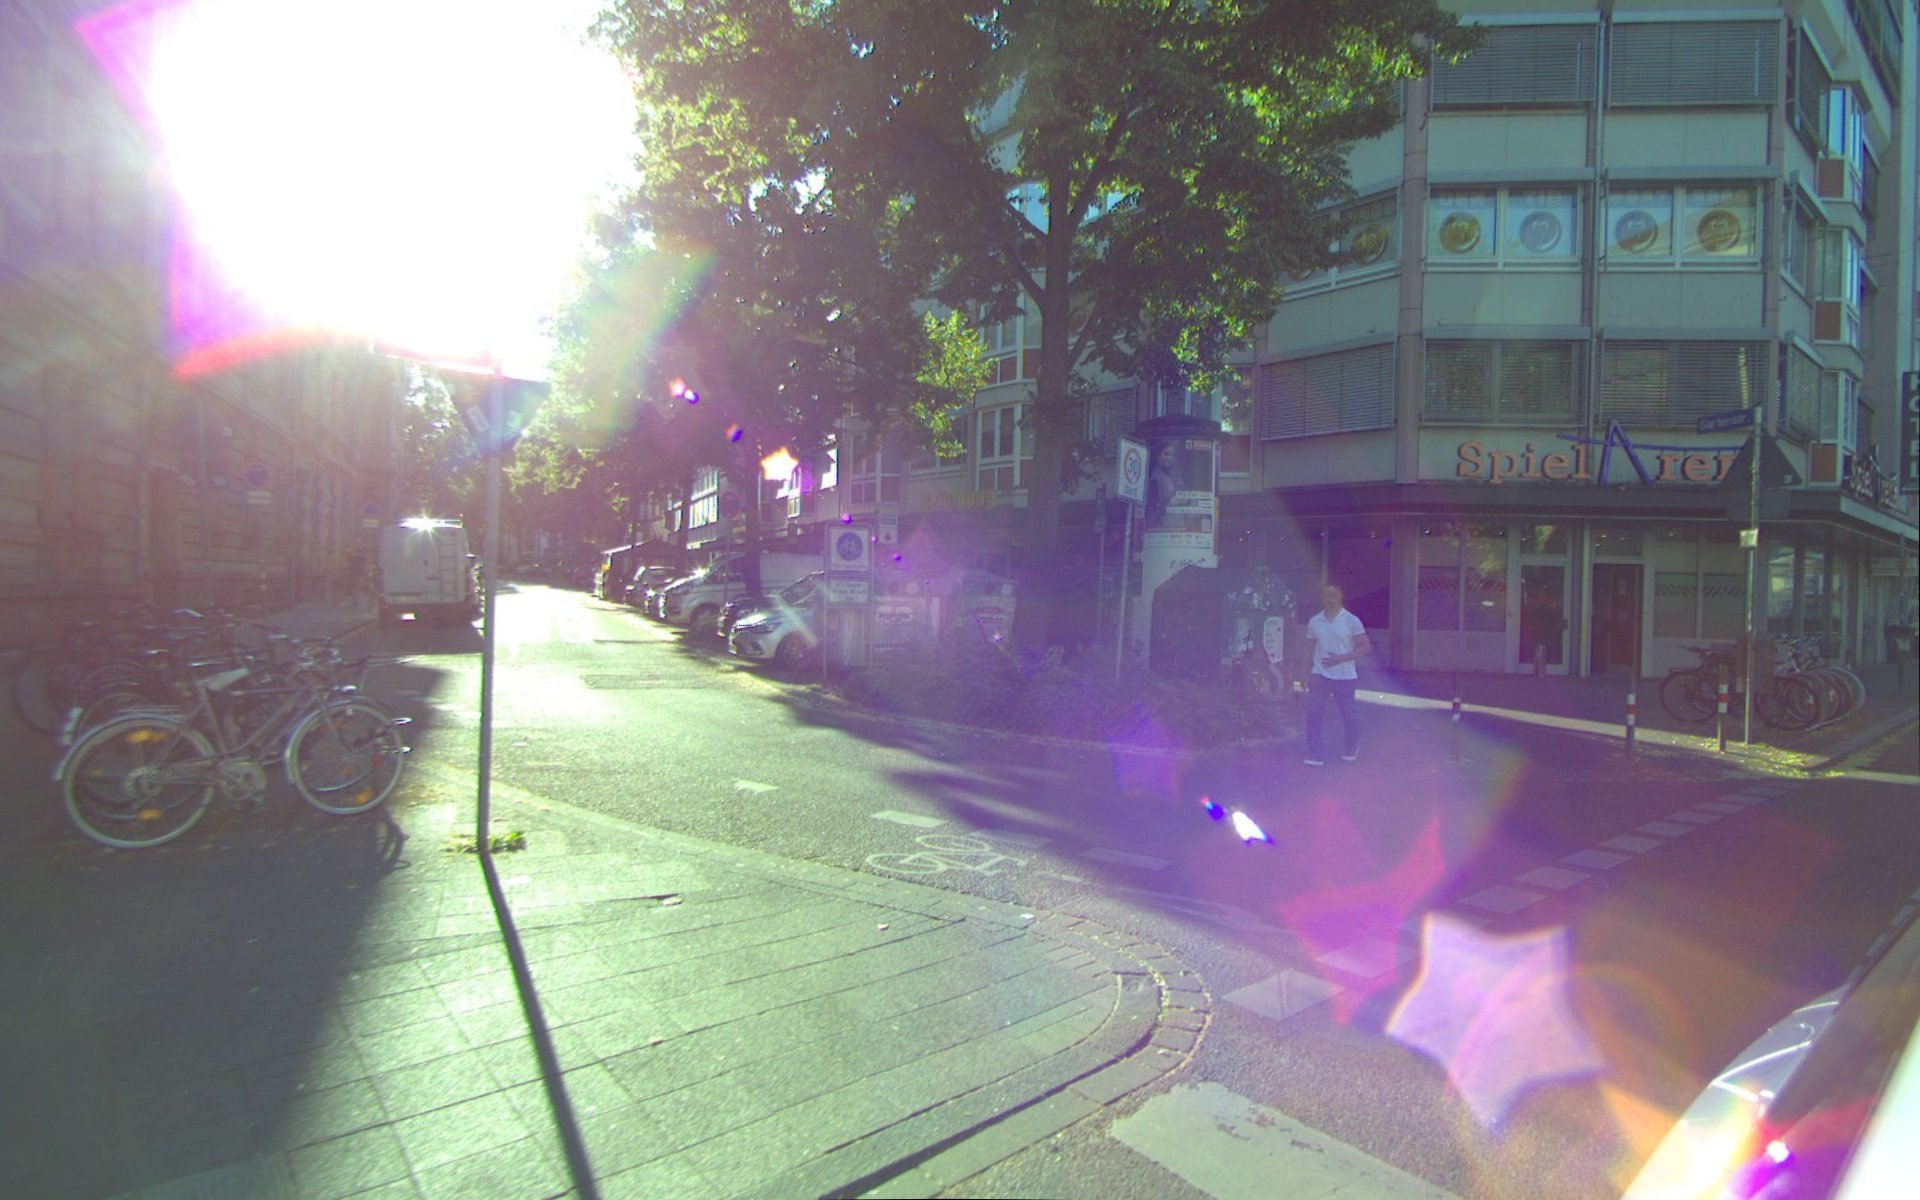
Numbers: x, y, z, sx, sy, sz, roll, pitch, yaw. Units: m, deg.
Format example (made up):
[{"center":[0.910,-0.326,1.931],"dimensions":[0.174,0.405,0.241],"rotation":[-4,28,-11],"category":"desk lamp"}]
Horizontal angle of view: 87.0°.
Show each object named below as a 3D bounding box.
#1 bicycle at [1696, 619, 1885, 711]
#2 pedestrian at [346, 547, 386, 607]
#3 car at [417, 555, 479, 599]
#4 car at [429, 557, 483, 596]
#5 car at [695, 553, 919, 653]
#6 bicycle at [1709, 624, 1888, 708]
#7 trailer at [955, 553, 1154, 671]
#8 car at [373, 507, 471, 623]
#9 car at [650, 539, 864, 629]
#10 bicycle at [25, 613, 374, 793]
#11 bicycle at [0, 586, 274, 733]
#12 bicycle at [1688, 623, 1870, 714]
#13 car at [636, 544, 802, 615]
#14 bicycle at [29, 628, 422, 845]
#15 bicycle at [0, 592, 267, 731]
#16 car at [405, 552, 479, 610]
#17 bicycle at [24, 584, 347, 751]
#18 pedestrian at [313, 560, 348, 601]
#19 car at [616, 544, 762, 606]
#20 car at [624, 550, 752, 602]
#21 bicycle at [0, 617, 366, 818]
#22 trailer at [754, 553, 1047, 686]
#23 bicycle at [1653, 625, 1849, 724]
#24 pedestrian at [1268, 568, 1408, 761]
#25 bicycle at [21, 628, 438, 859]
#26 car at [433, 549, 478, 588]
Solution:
[{"center":[11.572,0.866,14.158],"dimensions":[0.604,1.118,1.973],"rotation":[1,1,-43],"category":"bicycle"},{"center":[-18.150,-0.691,30.933],"dimensions":[0.988,1.811,1.065],"rotation":[0,-1,-27],"category":"pedestrian"},{"center":[-17.903,-0.766,35.513],"dimensions":[1.787,1.445,4.223],"rotation":[0,0,-25],"category":"car"},{"center":[-19.959,-0.890,40.183],"dimensions":[1.787,1.445,4.223],"rotation":[0,0,-25],"category":"car"},{"center":[-2.948,0.016,19.467],"dimensions":[3.852,1.753,1.977],"rotation":[0,2,-26],"category":"car"},{"center":[12.048,0.911,14.594],"dimensions":[0.669,1.060,1.915],"rotation":[1,0,-43],"category":"bicycle"},{"center":[1.679,0.156,17.850],"dimensions":[3.122,1.907,1.583],"rotation":[0,3,-30],"category":"trailer"},{"center":[-13.119,-0.775,24.872],"dimensions":[1.932,2.551,4.882],"rotation":[0,0,-27],"category":"car"},{"center":[-5.023,-0.367,25.111],"dimensions":[4.943,2.077,1.908],"rotation":[0,0,-22],"category":"car"},{"center":[-5.117,0.625,6.974],"dimensions":[0.493,1.037,1.888],"rotation":[1,0,29],"category":"bicycle"},{"center":[-7.143,0.461,8.850],"dimensions":[0.442,1.138,1.939],"rotation":[1,0,25],"category":"bicycle"},{"center":[11.034,0.885,13.684],"dimensions":[0.706,1.067,1.836],"rotation":[1,0,-43],"category":"bicycle"},{"center":[-7.115,-0.572,29.846],"dimensions":[4.545,1.965,1.977],"rotation":[0,0,-22],"category":"car"},{"center":[-4.241,0.714,6.033],"dimensions":[0.415,1.037,1.887],"rotation":[1,0,31],"category":"bicycle"},{"center":[-7.442,0.503,9.213],"dimensions":[0.401,1.138,1.888],"rotation":[1,0,29],"category":"bicycle"},{"center":[-15.355,-0.524,30.150],"dimensions":[1.787,1.595,4.223],"rotation":[0,0,-25],"category":"car"},{"center":[-6.267,0.483,8.366],"dimensions":[0.609,1.197,2.090],"rotation":[1,0,23],"category":"bicycle"},{"center":[-18.970,-0.570,30.505],"dimensions":[0.810,1.195,0.931],"rotation":[0,-1,-27],"category":"pedestrian"},{"center":[-9.157,-0.802,34.232],"dimensions":[4.545,1.965,1.976],"rotation":[0,0,-23],"category":"car"},{"center":[-10.761,-0.903,40.112],"dimensions":[4.549,1.965,1.975],"rotation":[0,0,-30],"category":"car"},{"center":[-4.827,0.655,6.474],"dimensions":[0.458,1.052,1.894],"rotation":[1,0,21],"category":"bicycle"},{"center":[-0.895,0.253,15.042],"dimensions":[3.852,1.754,1.977],"rotation":[1,1,-26],"category":"trailer"},{"center":[9.800,0.882,12.595],"dimensions":[0.698,1.067,1.836],"rotation":[1,0,-43],"category":"bicycle"},{"center":[3.544,0.577,9.484],"dimensions":[1.014,1.687,0.785],"rotation":[3,-1,-39],"category":"pedestrian"},{"center":[-3.982,0.703,5.714],"dimensions":[0.449,1.037,1.887],"rotation":[1,0,31],"category":"bicycle"},{"center":[-24.074,-1.460,48.372],"dimensions":[1.787,1.688,4.223],"rotation":[0,0,-25],"category":"car"}]
